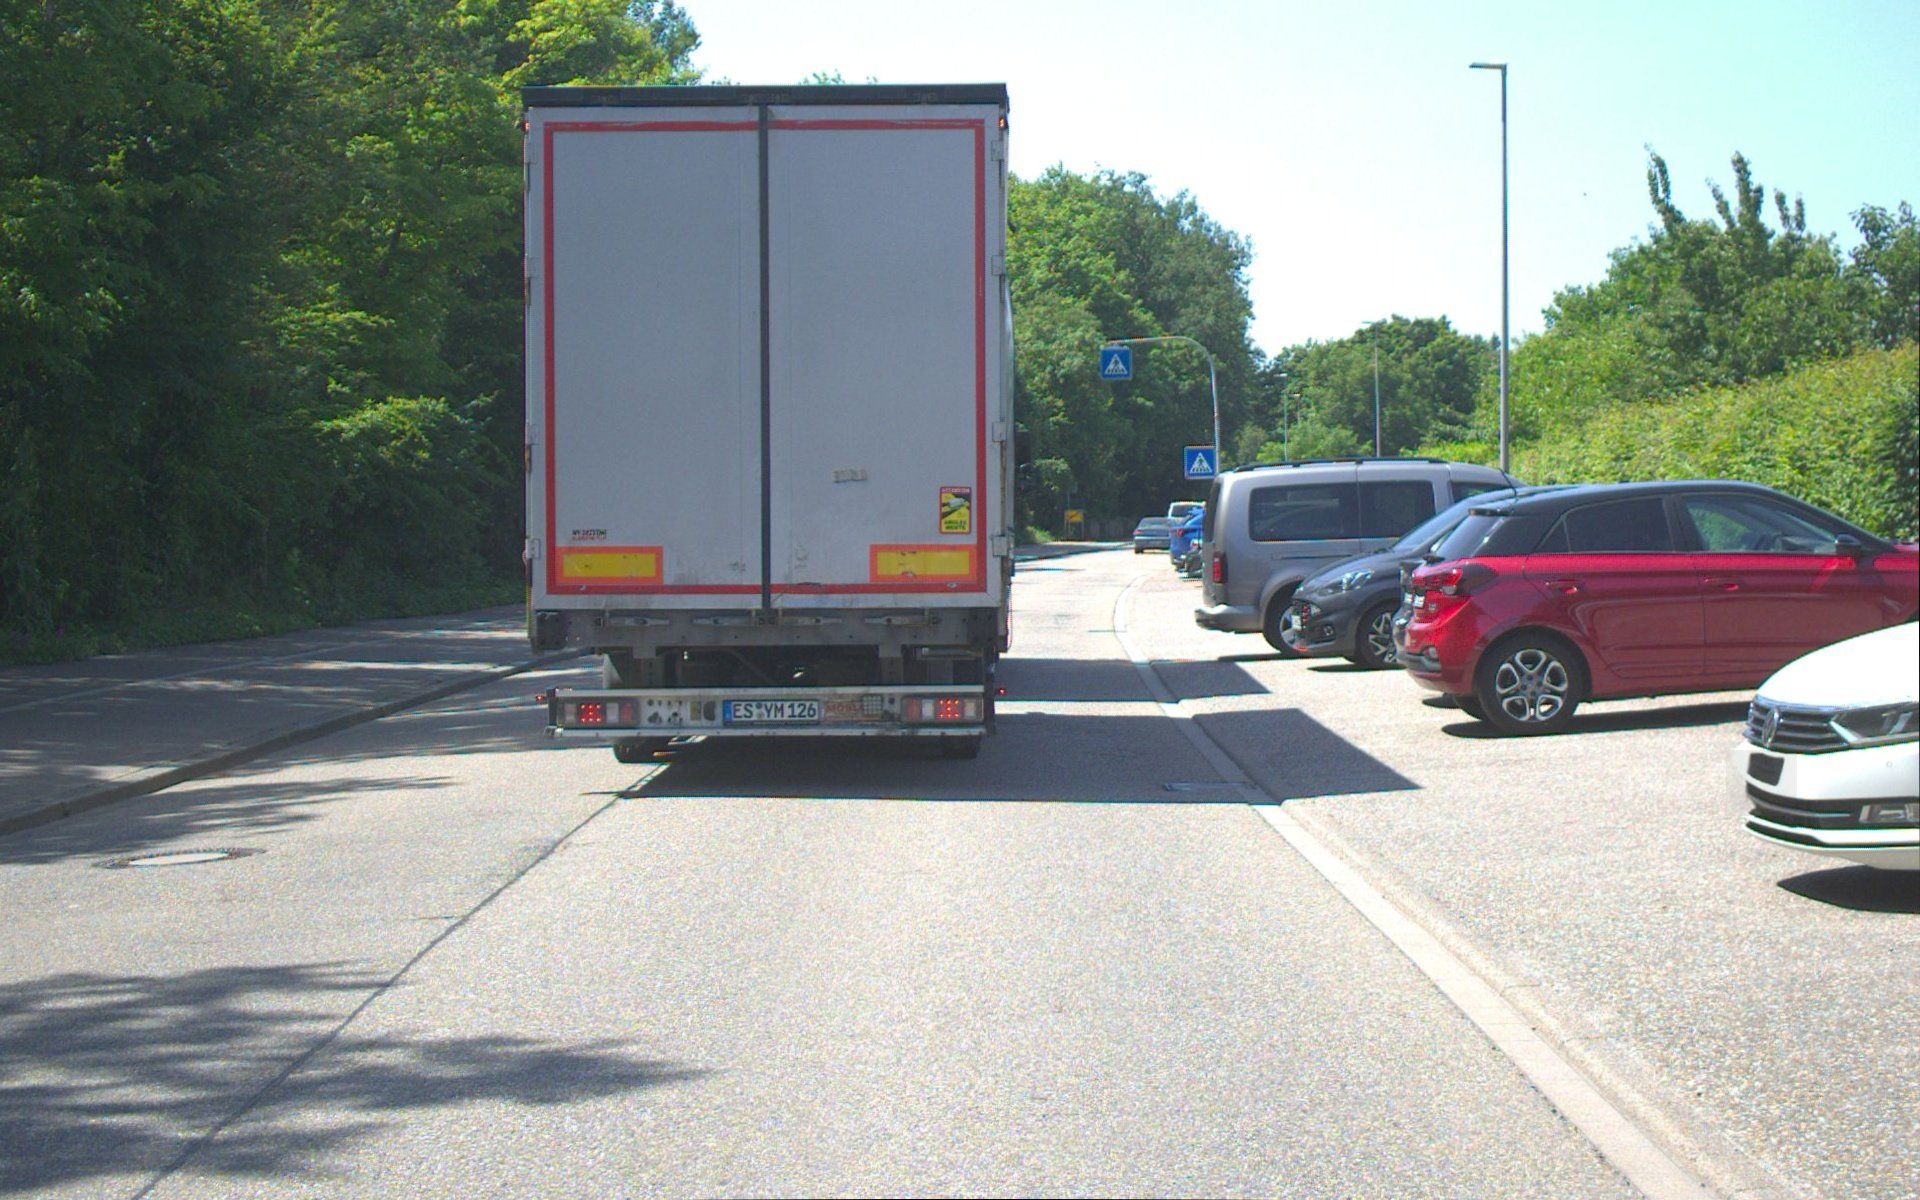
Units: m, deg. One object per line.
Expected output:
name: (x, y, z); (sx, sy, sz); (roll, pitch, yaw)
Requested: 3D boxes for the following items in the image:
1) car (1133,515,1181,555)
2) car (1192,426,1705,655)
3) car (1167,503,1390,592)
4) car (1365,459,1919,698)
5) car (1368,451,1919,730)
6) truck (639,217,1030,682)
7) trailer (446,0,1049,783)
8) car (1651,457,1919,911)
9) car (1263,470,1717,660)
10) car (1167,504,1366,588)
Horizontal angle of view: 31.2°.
car: (7.565, -2.511, 132.445); (1.781, 1.481, 4.000); (0, 1, 2)
car: (4.658, -0.581, 33.337); (4.621, 1.842, 1.996); (-4, 1, 2)
car: (6.161, -1.013, 66.871); (4.164, 1.490, 1.882); (-3, 0, 3)
car: (5.128, -0.186, 24.430); (4.203, 1.383, 1.841); (-4, 1, 0)
car: (4.670, -0.104, 21.668); (3.919, 1.473, 1.845); (-4, 1, 1)
truck: (-0.982, -1.286, 30.775); (3.114, 3.712, 6.414); (0, 1, 0)
trailer: (-1.048, -1.248, 23.654); (3.113, 4.088, 11.537); (0, 1, 1)
car: (4.976, 0.107, 12.125); (4.557, 1.434, 1.962); (-4, 1, -3)
car: (4.597, -0.319, 30.140); (3.575, 1.497, 1.842); (-2, 1, -4)
car: (6.741, -1.182, 75.919); (4.238, 1.628, 1.823); (-3, 0, 3)
